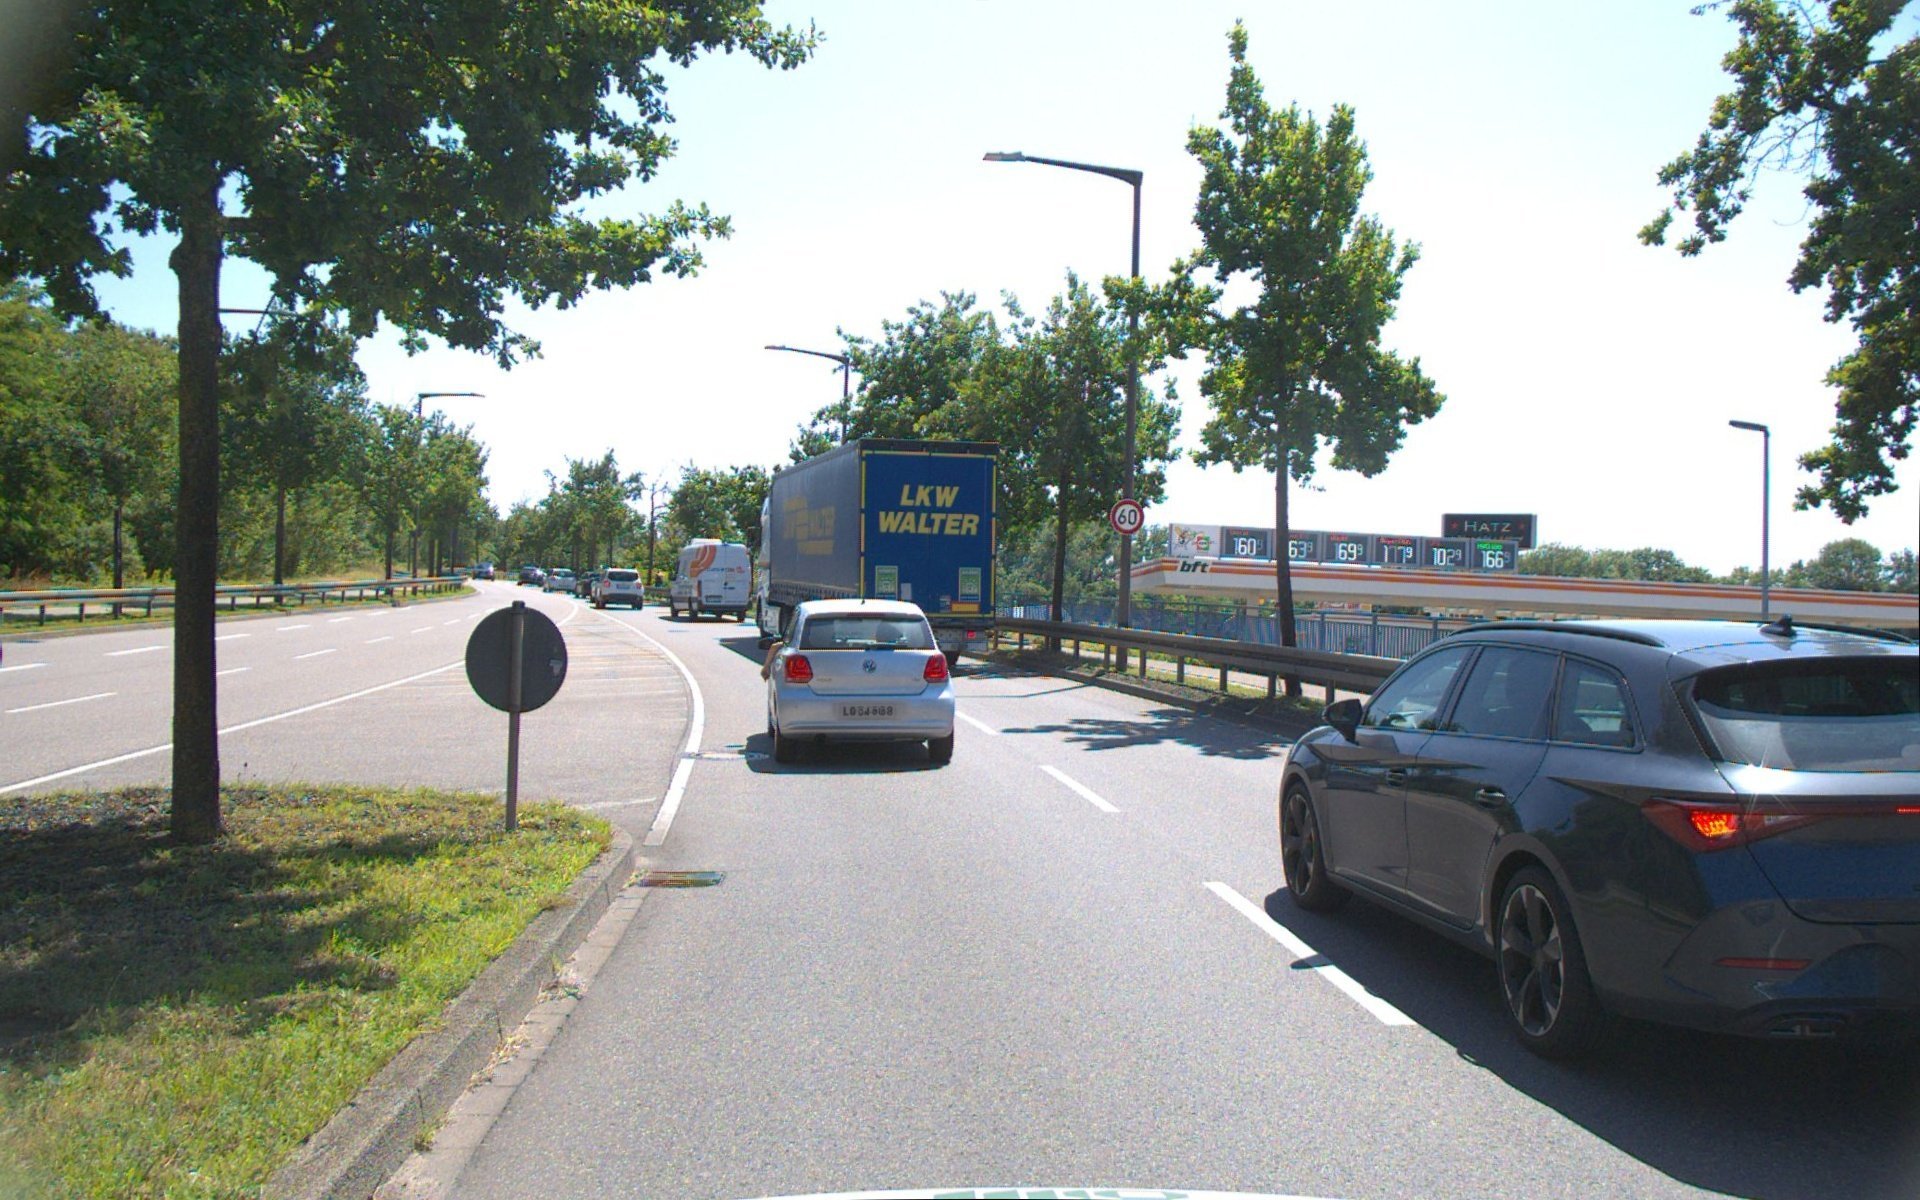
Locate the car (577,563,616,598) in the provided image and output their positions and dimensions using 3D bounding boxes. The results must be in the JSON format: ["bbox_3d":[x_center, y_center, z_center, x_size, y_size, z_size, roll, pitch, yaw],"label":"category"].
[{"bbox_3d":[-19.703,-1.015,89.562,1.694,1.756,3.981,2,-1,-17],"label":"car"}]

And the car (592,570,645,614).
[{"bbox_3d":[-14.515,-0.315,70.075,1.872,1.748,4.205,2,-1,-16],"label":"car"}]

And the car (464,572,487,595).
[{"bbox_3d":[-39.488,-1.351,134.899,1.651,1.700,3.741,1,2,-14],"label":"car"}]

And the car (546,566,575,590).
[{"bbox_3d":[-24.763,-1.343,102.438,1.582,1.384,3.646,1,0,-16],"label":"car"}]

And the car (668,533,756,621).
[{"bbox_3d":[-9.041,-0.821,59.777,2.142,2.951,6.327,1,0,-18],"label":"car"}]

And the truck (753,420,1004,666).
[{"bbox_3d":[-2.415,-0.949,37.246,2.784,4.272,16.419,1,-1,-13],"label":"truck"}]

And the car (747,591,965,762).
[{"bbox_3d":[-1.112,0.706,16.124,1.617,1.464,3.526,1,-1,-12],"label":"car"}]

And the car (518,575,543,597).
[{"bbox_3d":[-32.280,-1.034,124.463,1.636,1.491,3.569,1,-1,-12],"label":"car"}]

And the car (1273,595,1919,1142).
[{"bbox_3d":[2.641,0.785,6.686,1.573,1.481,4.230,1,-1,-6],"label":"car"}]
